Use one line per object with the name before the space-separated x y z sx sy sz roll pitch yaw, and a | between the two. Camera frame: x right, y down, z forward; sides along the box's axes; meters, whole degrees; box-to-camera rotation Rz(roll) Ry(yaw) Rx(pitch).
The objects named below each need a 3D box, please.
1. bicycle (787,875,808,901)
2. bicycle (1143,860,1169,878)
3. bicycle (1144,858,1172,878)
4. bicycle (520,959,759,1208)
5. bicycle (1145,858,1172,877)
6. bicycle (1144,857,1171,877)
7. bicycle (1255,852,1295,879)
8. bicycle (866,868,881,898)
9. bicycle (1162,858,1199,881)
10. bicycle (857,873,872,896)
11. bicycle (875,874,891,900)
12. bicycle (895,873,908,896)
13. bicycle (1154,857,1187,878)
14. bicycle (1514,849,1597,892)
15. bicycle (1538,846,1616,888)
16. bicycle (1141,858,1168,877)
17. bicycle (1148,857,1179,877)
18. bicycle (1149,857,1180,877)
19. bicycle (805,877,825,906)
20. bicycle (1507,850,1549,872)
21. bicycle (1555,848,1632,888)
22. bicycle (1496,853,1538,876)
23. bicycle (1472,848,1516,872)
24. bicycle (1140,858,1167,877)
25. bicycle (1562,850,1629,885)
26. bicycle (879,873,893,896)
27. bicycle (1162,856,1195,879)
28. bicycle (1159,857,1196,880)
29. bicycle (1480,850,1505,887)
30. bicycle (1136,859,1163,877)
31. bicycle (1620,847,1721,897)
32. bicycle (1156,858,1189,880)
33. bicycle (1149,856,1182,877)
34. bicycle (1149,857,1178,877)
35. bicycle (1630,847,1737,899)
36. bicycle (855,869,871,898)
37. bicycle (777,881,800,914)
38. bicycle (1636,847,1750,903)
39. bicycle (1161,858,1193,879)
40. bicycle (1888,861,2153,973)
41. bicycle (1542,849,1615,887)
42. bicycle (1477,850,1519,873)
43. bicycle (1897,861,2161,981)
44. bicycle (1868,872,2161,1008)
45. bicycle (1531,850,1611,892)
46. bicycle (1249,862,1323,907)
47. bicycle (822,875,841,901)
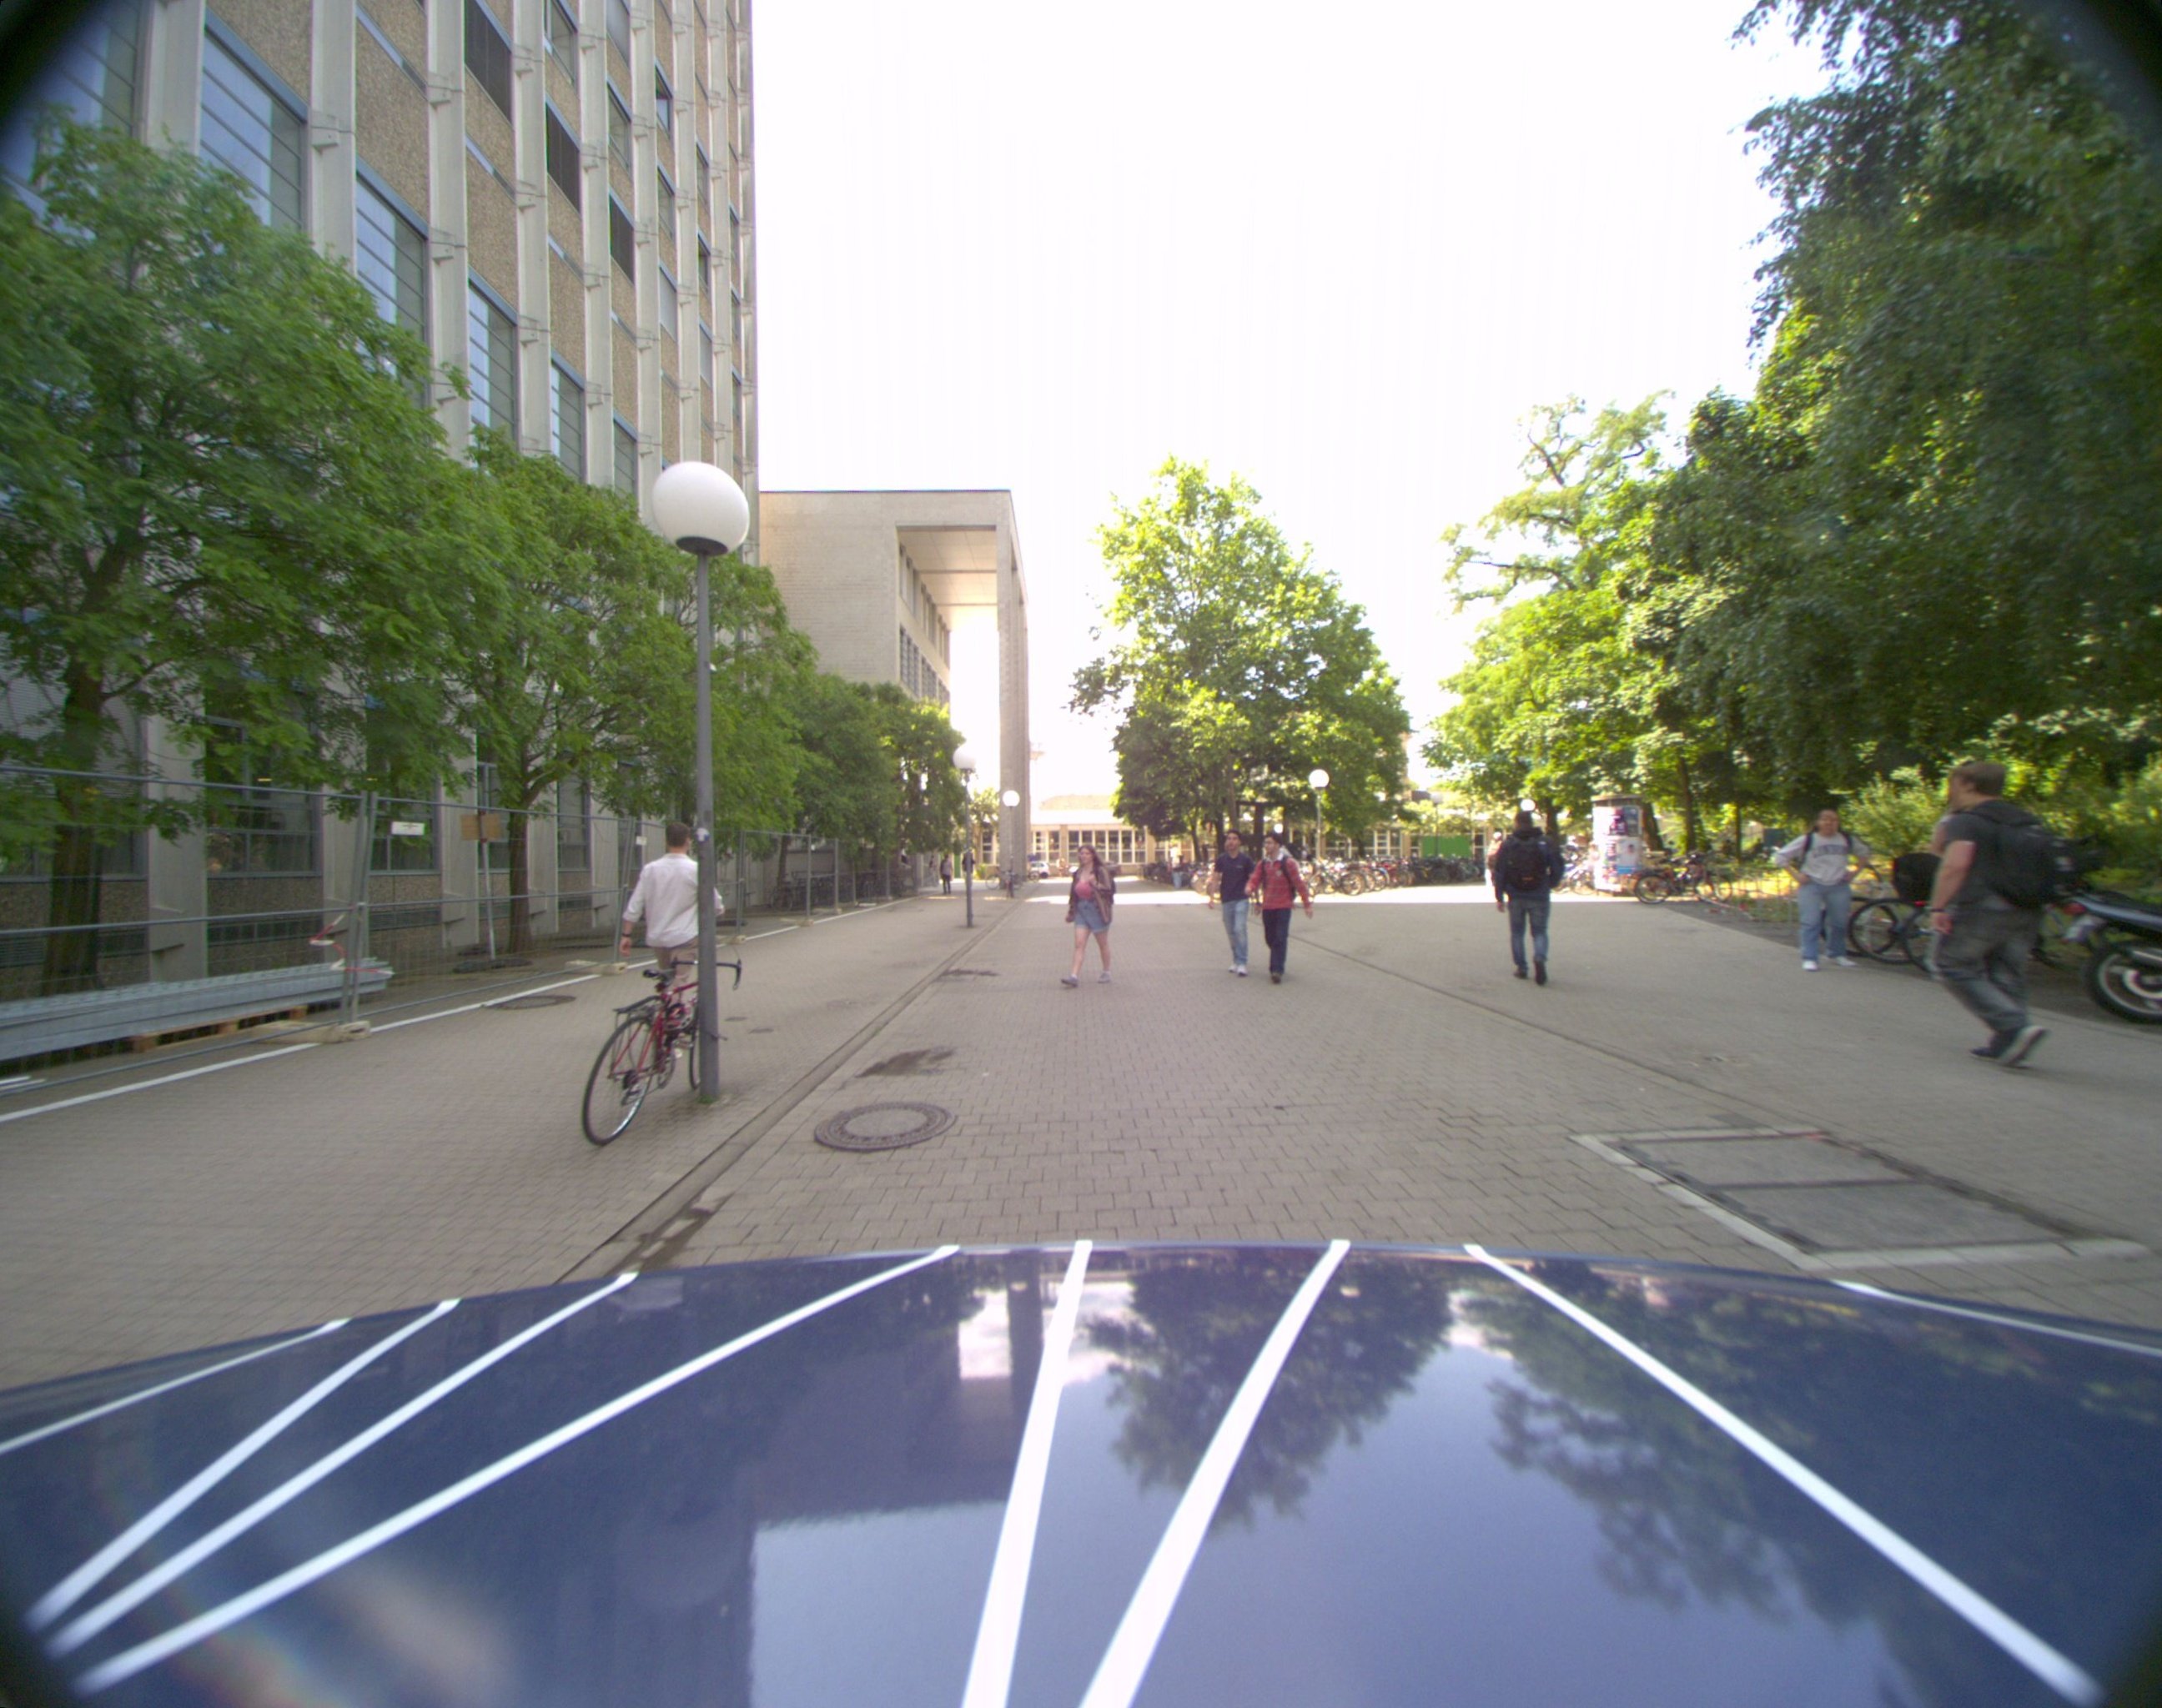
bicycle | -10.363 1.239 27.806 0.291 0.900 1.447 -1 0 -4
bicycle | 4.809 0.966 48.608 1.627 1.101 0.497 -1 -2 11
bicycle | 4.574 0.818 45.155 1.628 1.101 0.691 -1 1 4
bicycle | -2.445 1.203 4.441 0.396 0.930 1.732 1 0 -1
bicycle | 4.719 0.803 46.425 1.628 1.101 0.506 -1 1 4
bicycle | 4.608 0.783 45.876 1.628 1.101 0.497 -1 1 4
bicycle | 8.705 0.513 34.209 0.577 1.193 1.695 -2 1 -40
bicycle | -8.226 1.126 30.118 0.291 1.121 1.447 -1 0 -4
bicycle | 4.897 0.766 37.337 1.739 1.101 0.497 -2 1 0
bicycle | -8.999 1.266 31.614 0.291 0.900 1.447 -1 0 -4
bicycle | -7.299 1.214 28.048 0.291 0.900 1.447 -1 0 -4
bicycle | -7.436 1.247 31.477 0.291 0.900 1.447 -1 0 -4
bicycle | 4.884 0.747 41.514 1.724 1.101 0.719 -1 1 10
bicycle | 12.543 0.435 20.118 1.773 1.104 0.475 -1 1 43
bicycle | 13.824 0.366 21.188 1.773 1.104 0.475 -1 1 38
bicycle | 4.540 0.842 46.993 1.628 1.101 0.629 -1 1 4
bicycle | 4.738 0.747 43.603 1.629 1.101 0.645 -2 1 -6
bicycle | 4.668 0.715 42.471 1.629 1.101 0.497 -2 1 -6
bicycle | -8.702 1.212 24.920 0.291 0.900 1.804 -1 0 -9
bicycle | 21.844 0.344 37.145 0.475 1.077 1.695 -2 1 -40
bicycle | 14.638 0.411 21.729 1.773 1.104 0.475 -1 1 38
bicycle | 20.983 0.511 36.580 0.475 1.077 1.695 -2 1 -40
bicycle | 19.162 0.289 35.280 0.475 1.077 1.695 -2 1 -40
bicycle | 4.533 0.853 47.556 1.628 1.101 0.497 -1 1 4
bicycle | 16.910 0.448 24.980 1.773 1.104 0.518 -1 1 38
bicycle | -8.127 1.248 31.616 0.291 0.900 1.447 -1 0 -4
bicycle | 4.988 0.696 38.863 1.627 1.137 0.497 -1 1 13
bicycle | 4.854 0.740 38.209 1.737 1.101 0.575 -1 1 18
bicycle | 12.863 0.440 23.717 0.473 1.104 1.848 -1 1 34
bicycle | 4.328 0.893 48.125 1.628 1.101 0.497 -1 1 4
bicycle | 13.537 0.412 17.503 1.773 1.104 0.475 -1 1 28
bicycle | 4.777 0.757 39.473 1.627 1.101 0.497 -1 1 13
bicycle | 4.791 0.708 42.968 1.785 1.155 0.497 -2 1 -6
bicycle | 4.833 0.765 44.373 1.628 1.144 0.497 -2 1 0
bicycle | 13.194 0.422 16.686 1.773 1.104 0.475 -1 1 28
bicycle | -8.618 1.142 30.062 0.291 1.088 1.447 -1 0 -4
bicycle | -8.762 1.293 22.784 0.291 0.900 1.618 -1 0 -9
bicycle | 12.643 0.437 15.760 1.773 1.104 0.475 -1 1 28
bicycle | 5.048 0.764 40.011 1.627 1.101 0.563 -1 1 13
bicycle | 9.656 0.606 7.912 0.475 1.041 1.695 -2 1 -41
bicycle | 14.858 0.412 22.733 1.773 1.104 0.475 -1 1 38
bicycle | 19.565 0.355 35.673 0.475 1.077 1.695 -2 1 -40
bicycle | 9.250 0.617 7.424 0.475 1.041 1.695 -4 1 -41
bicycle | 8.242 0.688 6.611 0.543 1.041 1.903 -2 1 -41
bicycle | 13.402 0.456 20.824 1.773 1.104 0.475 -1 1 43
bicycle | 5.224 0.770 19.410 1.698 1.077 0.604 -1 1 3
bicycle | -9.111 1.227 27.802 0.291 0.900 1.447 -1 0 -4
